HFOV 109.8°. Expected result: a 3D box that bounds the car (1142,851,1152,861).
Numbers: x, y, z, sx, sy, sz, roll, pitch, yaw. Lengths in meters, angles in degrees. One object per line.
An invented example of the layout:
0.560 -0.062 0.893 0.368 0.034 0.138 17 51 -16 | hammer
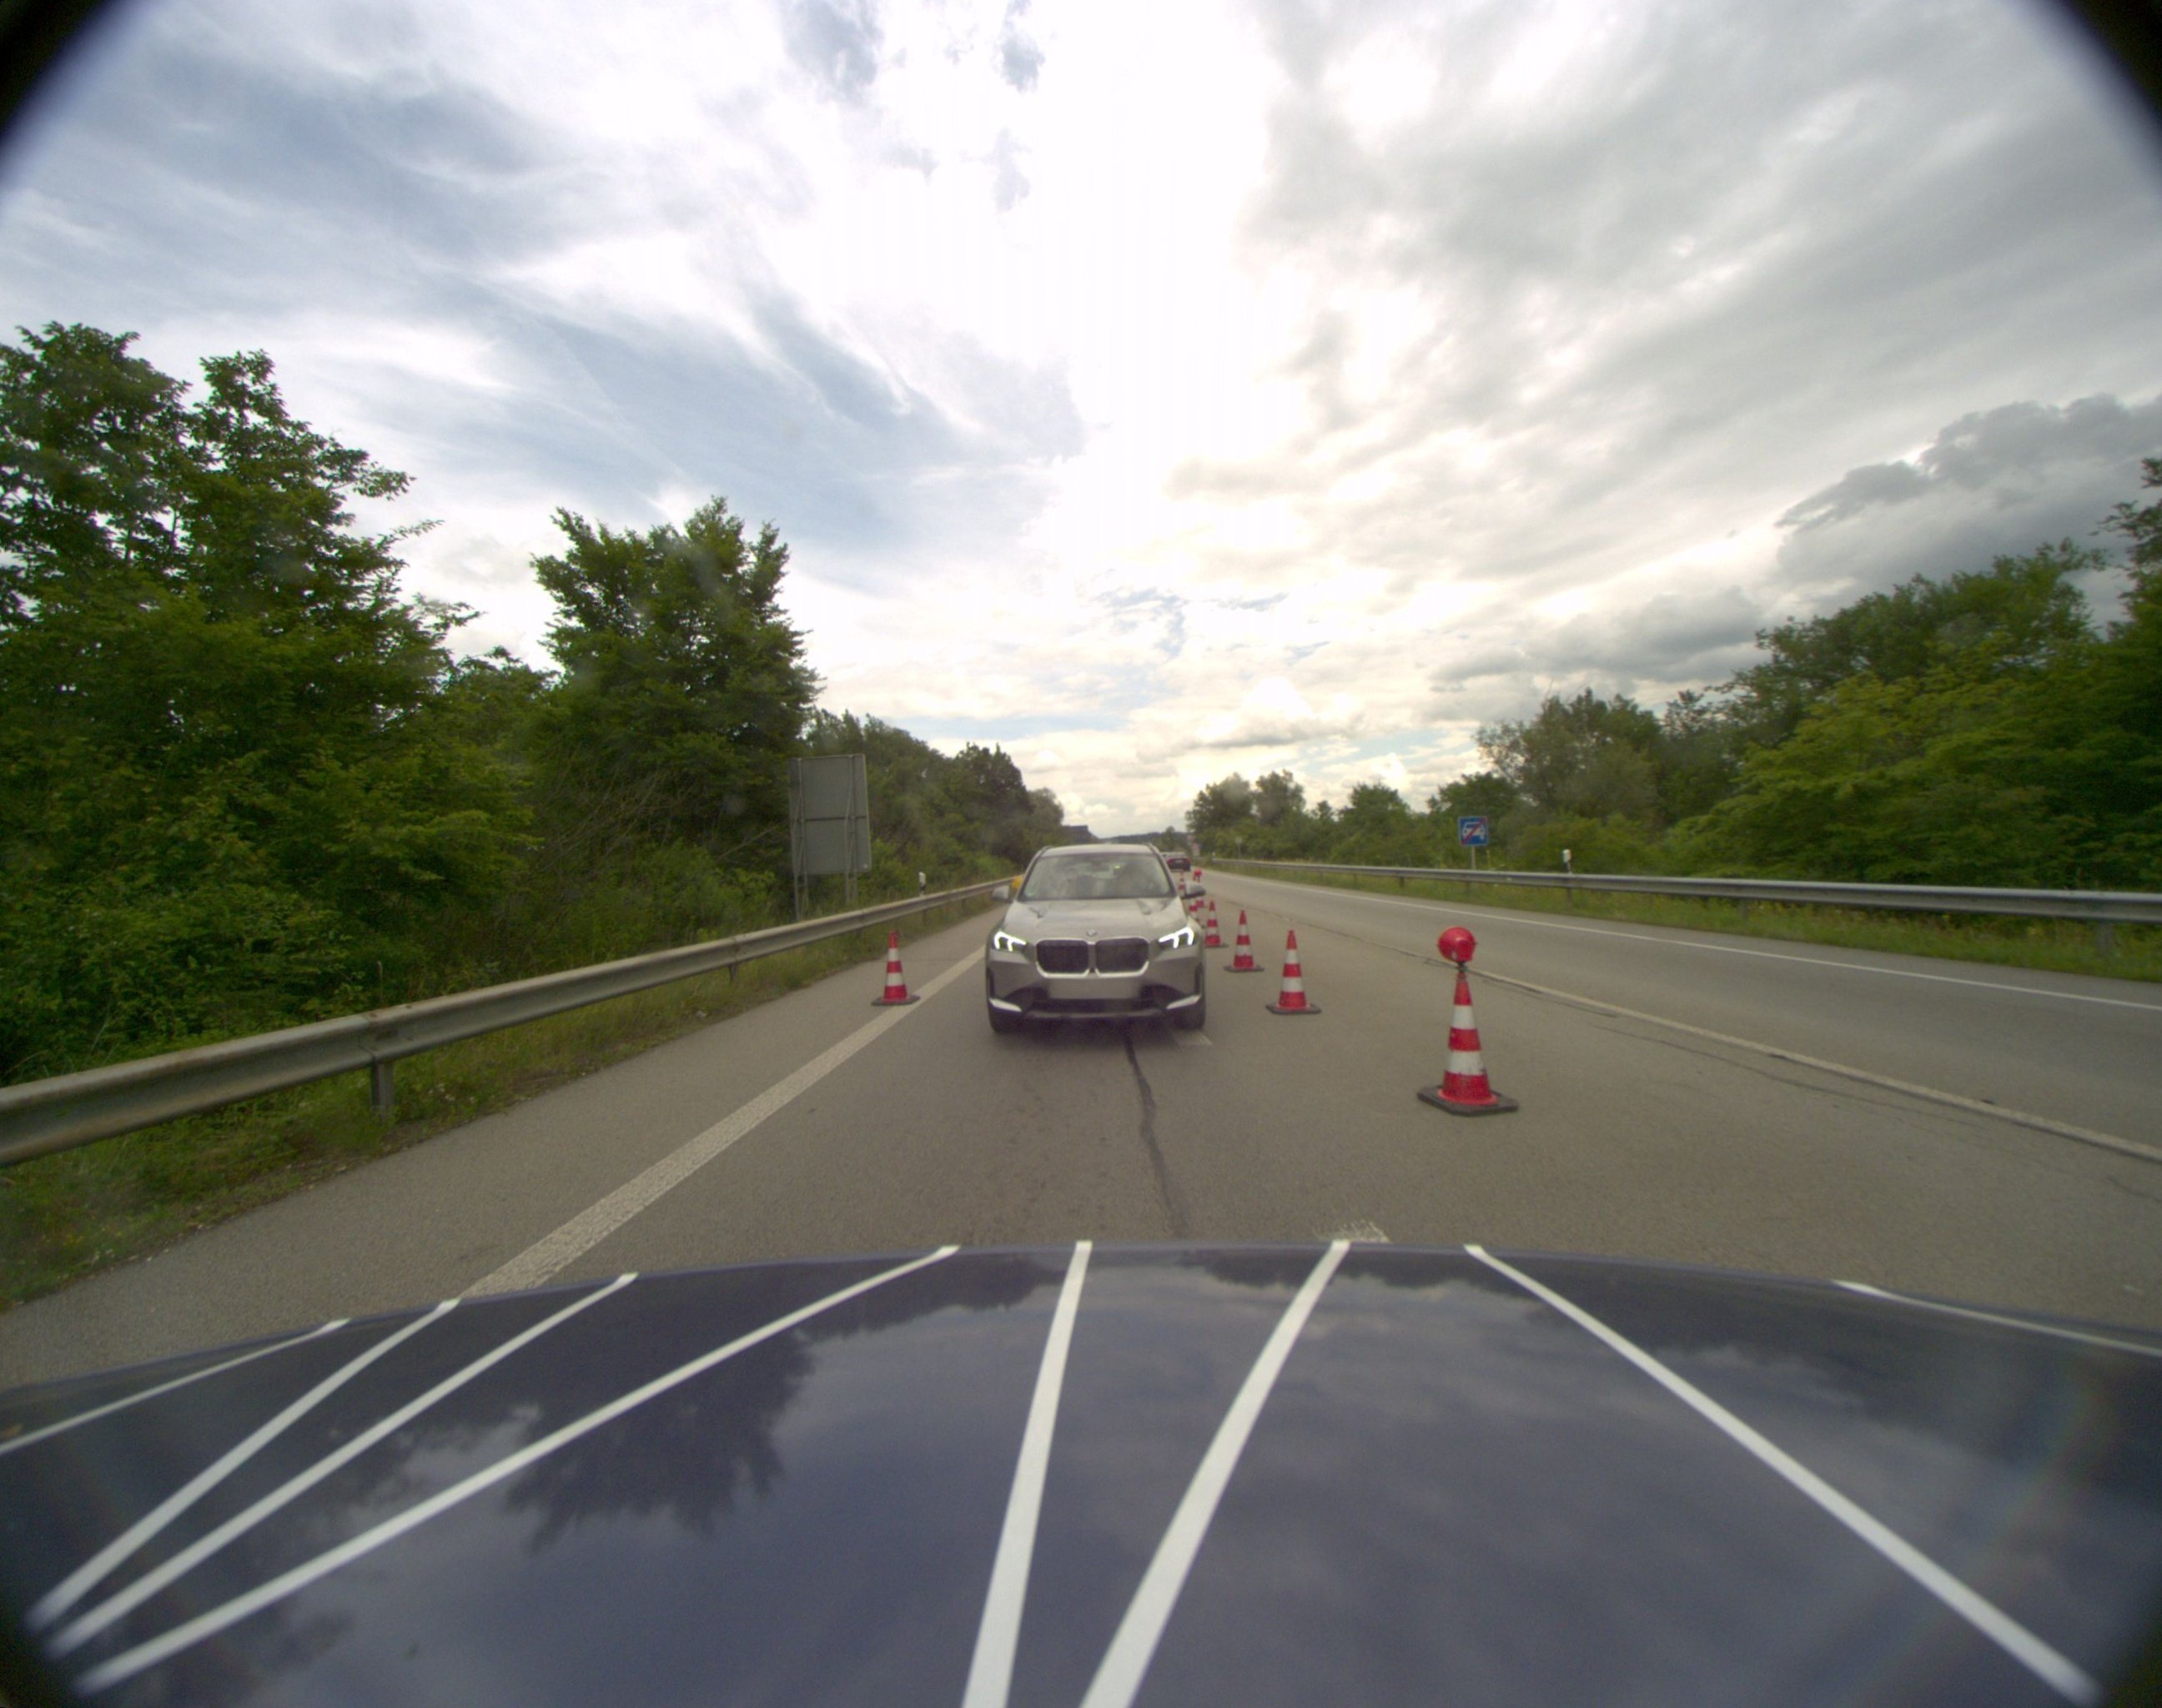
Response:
14.678 0.385 168.670 2.034 1.976 5.316 -2 0 3 | car

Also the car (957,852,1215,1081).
0.159 0.822 7.714 1.817 1.598 4.434 -2 0 3 | car

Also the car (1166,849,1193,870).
7.387 0.398 57.410 1.712 1.428 4.337 -2 0 4 | car

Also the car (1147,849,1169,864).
7.894 0.261 78.483 1.683 1.393 4.373 -2 0 -1 | car
